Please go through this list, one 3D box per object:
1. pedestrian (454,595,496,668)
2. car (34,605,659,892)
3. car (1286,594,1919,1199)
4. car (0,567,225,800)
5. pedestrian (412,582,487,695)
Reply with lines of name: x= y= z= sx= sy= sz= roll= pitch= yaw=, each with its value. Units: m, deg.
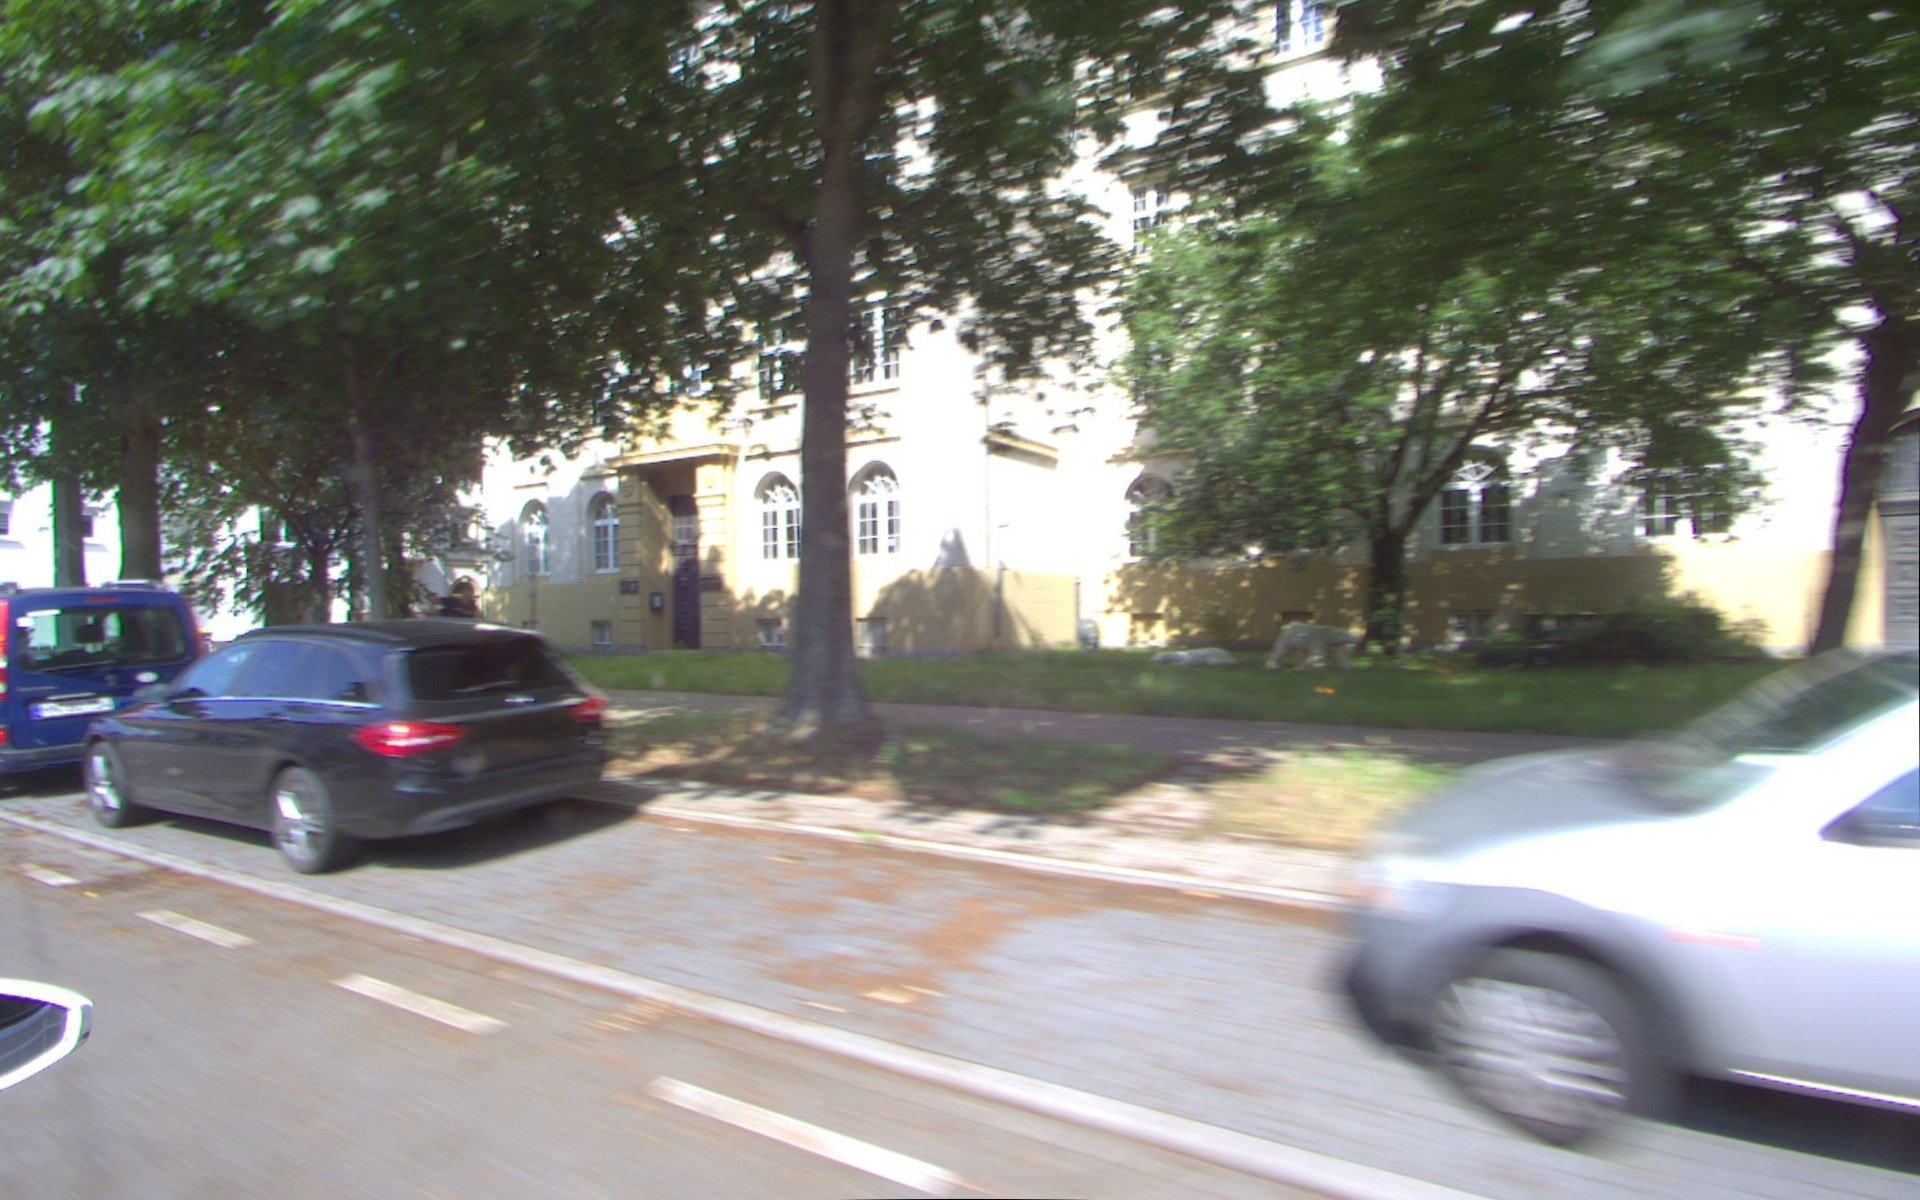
pedestrian: x=-10.929 y=0.711 z=22.564 sx=0.532 sy=1.617 sz=0.630 roll=-1 pitch=0 yaw=29
car: x=-4.647 y=0.824 z=7.411 sx=4.725 sy=1.462 sz=1.913 roll=0 pitch=2 yaw=31
car: x=2.917 y=0.732 z=2.777 sx=3.546 sy=1.464 sz=1.587 roll=-1 pitch=1 yaw=32
car: x=-9.282 y=0.687 z=9.951 sx=4.125 sy=1.922 sz=1.818 roll=0 pitch=2 yaw=33
pedestrian: x=-8.010 y=0.586 z=15.716 sx=0.756 sy=1.719 sz=0.742 roll=0 pitch=1 yaw=32
